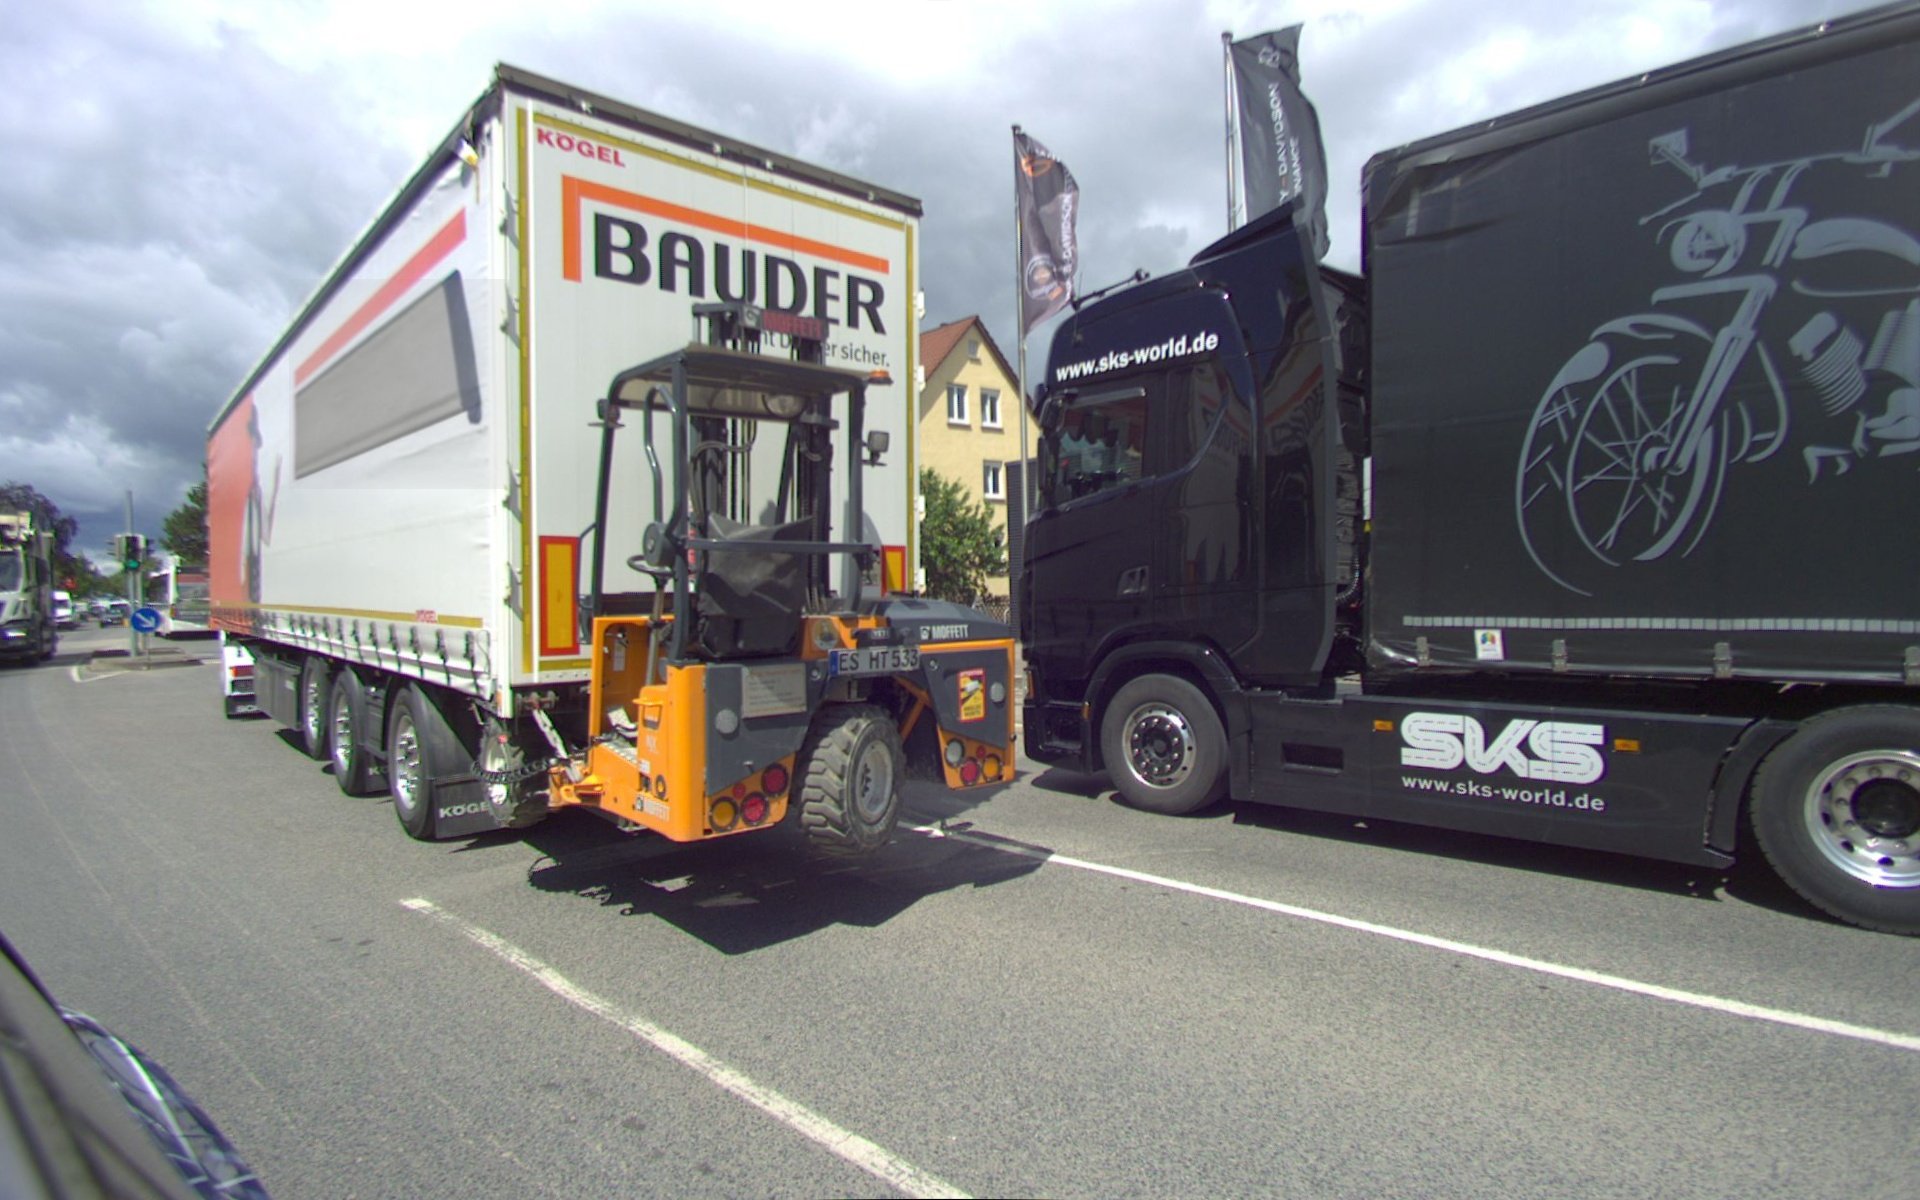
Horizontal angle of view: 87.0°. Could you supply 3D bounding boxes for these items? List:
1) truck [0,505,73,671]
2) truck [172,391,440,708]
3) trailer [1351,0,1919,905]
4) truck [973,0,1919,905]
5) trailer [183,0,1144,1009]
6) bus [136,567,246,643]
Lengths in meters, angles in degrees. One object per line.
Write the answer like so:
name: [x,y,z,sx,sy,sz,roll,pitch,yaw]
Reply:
truck: [-25.829,-0.257,26.950,2.624,3.839,9.836,-2,1,-38]
truck: [-10.471,-0.696,16.007,2.738,4.150,4.993,-2,1,-42]
trailer: [8.882,-0.842,1.478,15.555,4.083,2.769,0,1,43]
truck: [3.457,-0.806,6.525,6.501,4.083,2.769,0,1,43]
trailer: [-5.210,-0.767,9.995,2.738,4.175,15.371,-2,1,-41]
bus: [-35.121,0.173,45.943,2.687,3.053,12.277,-1,1,-43]
